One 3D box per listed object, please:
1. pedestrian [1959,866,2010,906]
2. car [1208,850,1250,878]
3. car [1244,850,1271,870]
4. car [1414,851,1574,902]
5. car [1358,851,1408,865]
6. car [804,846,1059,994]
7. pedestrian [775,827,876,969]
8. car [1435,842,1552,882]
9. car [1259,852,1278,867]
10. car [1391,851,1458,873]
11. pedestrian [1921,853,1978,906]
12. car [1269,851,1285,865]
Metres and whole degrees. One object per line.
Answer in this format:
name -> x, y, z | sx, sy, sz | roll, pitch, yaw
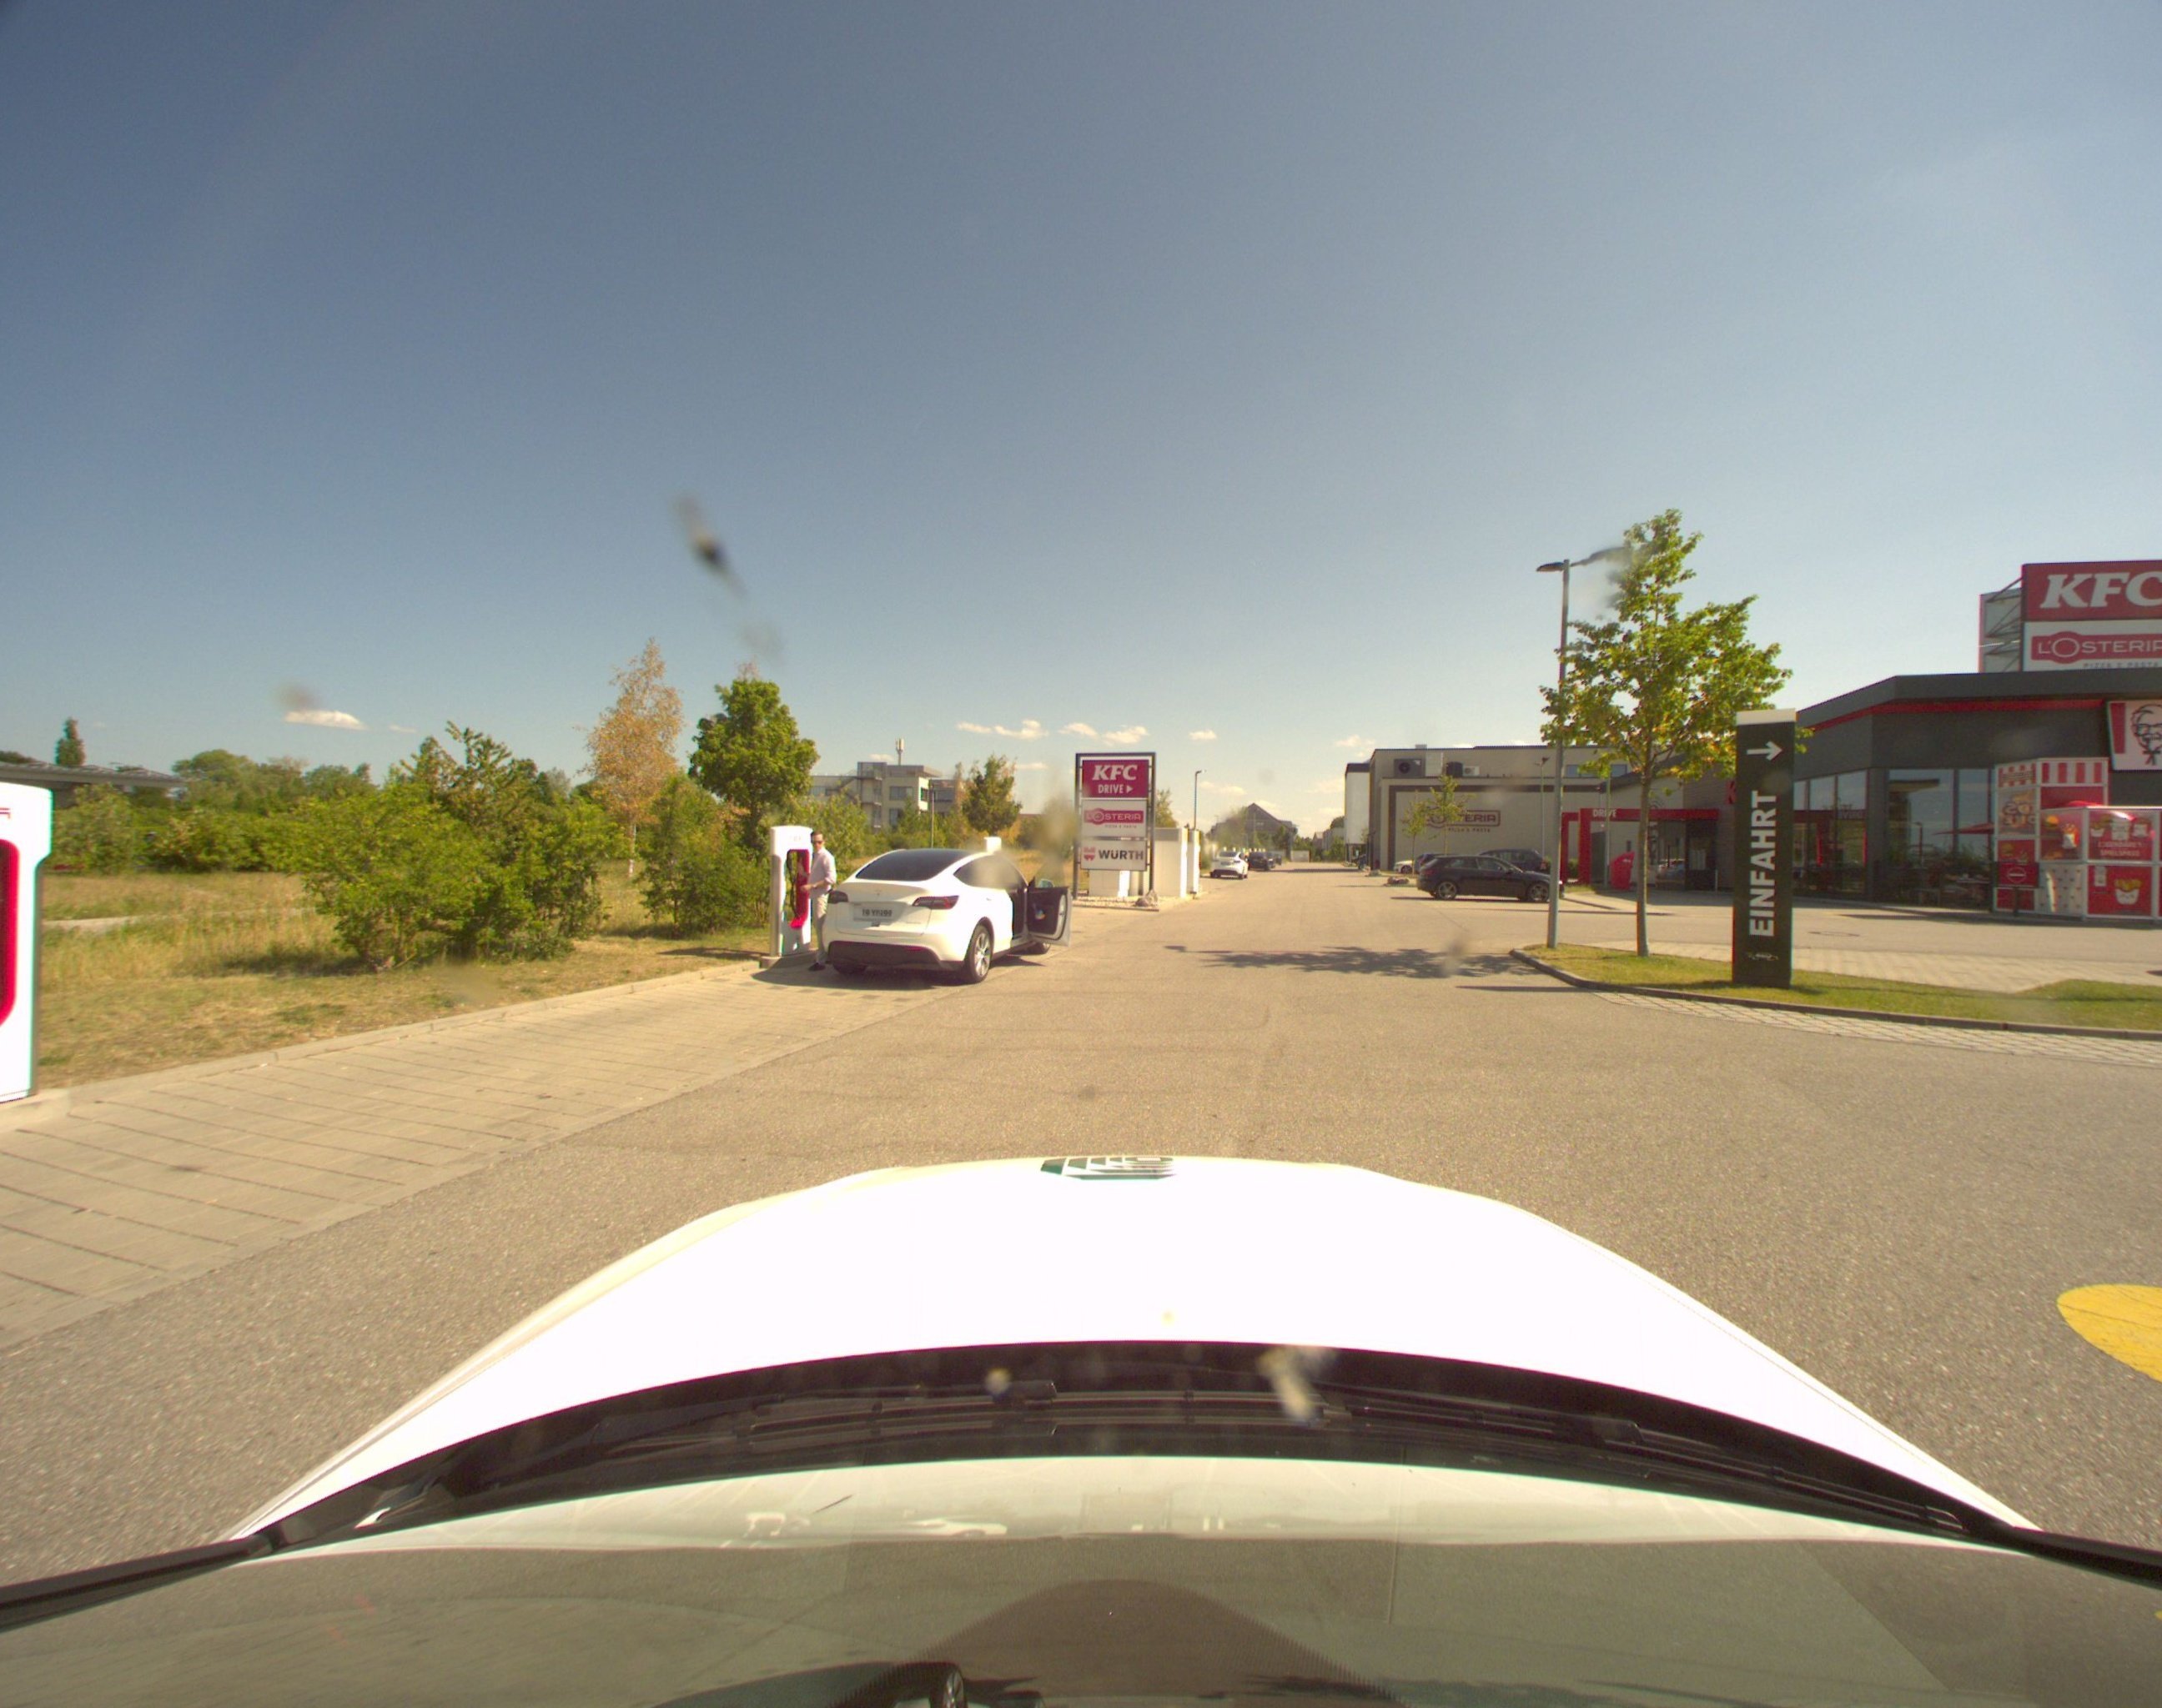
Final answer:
pedestrian -> 25.184, 0.882, 22.711 | 0.710, 1.071, 0.631 | 0, 0, 13
car -> 8.845, 0.566, 48.531 | 1.929, 1.568, 4.018 | 1, 0, 18
car -> 14.995, 0.501, 69.135 | 1.930, 1.568, 4.017 | 1, 0, 16
car -> 12.736, 0.663, 25.387 | 4.169, 1.441, 1.705 | 1, 0, 15
car -> 26.636, 0.376, 72.031 | 3.958, 1.156, 2.008 | 1, 0, 14
car -> -1.774, 0.723, 11.379 | 1.851, 1.600, 4.504 | 1, 0, 13
pedestrian -> -3.398, 0.561, 10.879 | 1.025, 1.800, 0.740 | 1, 0, 14
car -> 18.358, 0.330, 36.408 | 4.342, 1.685, 1.647 | 1, 0, 11
car -> 18.573, 0.517, 80.623 | 1.730, 1.387, 4.016 | 1, 0, 14
car -> 23.403, 0.525, 55.579 | 3.960, 1.420, 1.656 | 1, 0, 12
pedestrian -> 24.315, 0.705, 22.822 | 0.792, 1.435, 0.775 | 0, 0, 13
car -> 23.312, 0.467, 96.934 | 1.730, 1.568, 4.016 | 1, 0, 14
